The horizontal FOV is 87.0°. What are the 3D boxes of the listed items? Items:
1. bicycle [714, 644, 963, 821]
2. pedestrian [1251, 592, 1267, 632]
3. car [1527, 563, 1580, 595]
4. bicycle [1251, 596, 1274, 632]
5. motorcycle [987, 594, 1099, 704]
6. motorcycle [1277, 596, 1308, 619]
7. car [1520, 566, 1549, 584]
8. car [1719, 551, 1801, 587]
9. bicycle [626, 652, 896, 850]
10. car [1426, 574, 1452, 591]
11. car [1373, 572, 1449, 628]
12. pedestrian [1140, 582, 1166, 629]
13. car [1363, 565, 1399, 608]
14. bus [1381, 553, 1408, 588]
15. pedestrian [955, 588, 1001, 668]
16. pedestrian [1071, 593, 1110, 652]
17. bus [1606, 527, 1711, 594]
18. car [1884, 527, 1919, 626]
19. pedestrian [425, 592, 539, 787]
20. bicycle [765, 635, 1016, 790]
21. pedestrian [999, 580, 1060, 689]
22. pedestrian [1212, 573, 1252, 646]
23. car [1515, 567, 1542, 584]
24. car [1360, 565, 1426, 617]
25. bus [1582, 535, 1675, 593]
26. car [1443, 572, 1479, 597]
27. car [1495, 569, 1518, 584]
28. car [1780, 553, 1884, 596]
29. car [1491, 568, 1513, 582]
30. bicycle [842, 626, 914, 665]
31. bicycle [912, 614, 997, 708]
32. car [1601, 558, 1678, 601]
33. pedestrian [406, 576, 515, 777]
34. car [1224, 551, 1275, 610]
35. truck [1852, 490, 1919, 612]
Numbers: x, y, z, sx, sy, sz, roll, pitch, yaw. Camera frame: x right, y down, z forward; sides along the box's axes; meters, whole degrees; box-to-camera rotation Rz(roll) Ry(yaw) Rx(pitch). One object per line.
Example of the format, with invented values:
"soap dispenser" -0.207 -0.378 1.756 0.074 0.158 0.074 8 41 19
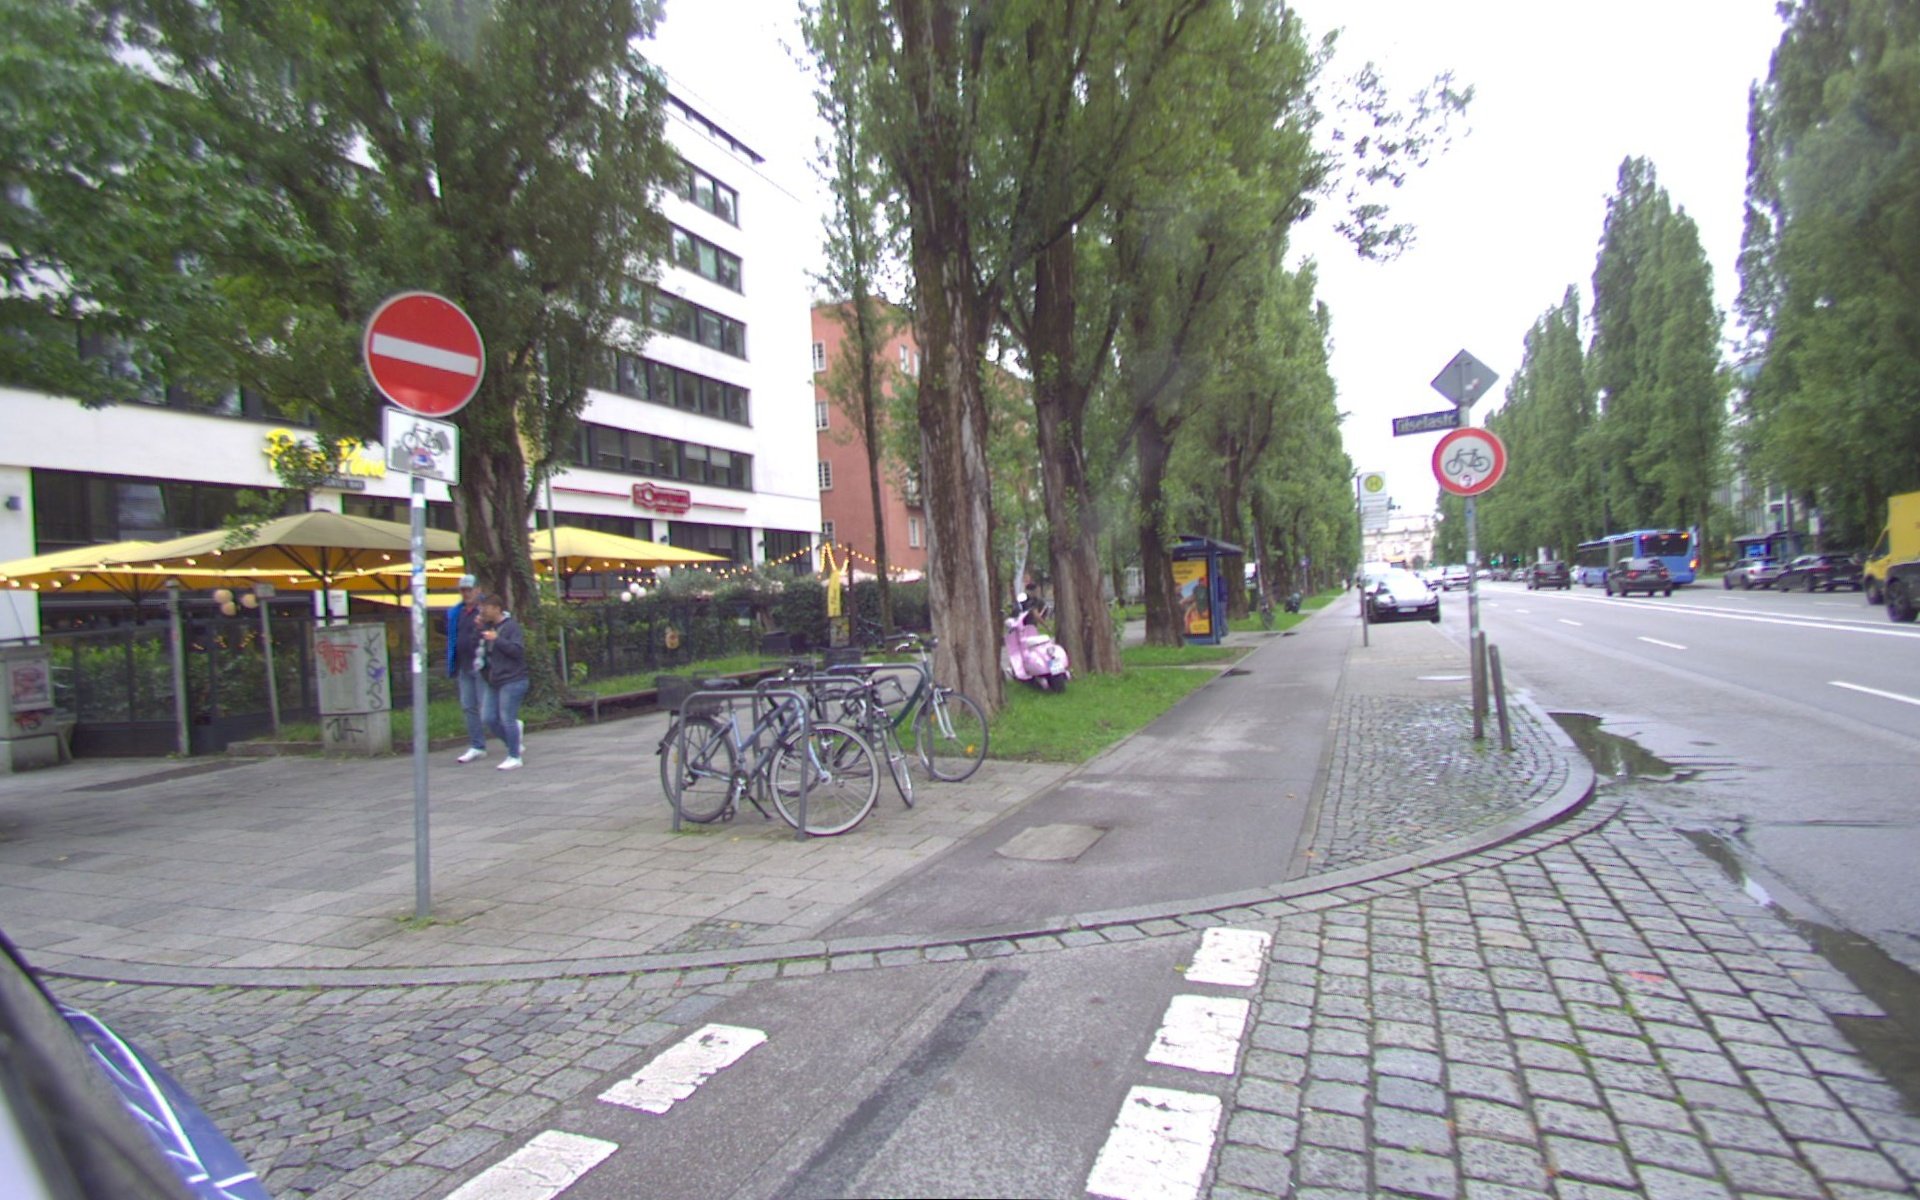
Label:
"bicycle" -0.872 0.903 7.072 1.695 1.101 0.487 -4 -1 28
"pedestrian" 12.995 0.514 44.001 0.514 1.705 0.482 -4 -1 26
"car" 34.898 -1.223 59.643 1.987 1.735 4.779 -3 0 23
"bicycle" 9.207 0.413 30.766 0.549 1.030 1.752 -4 0 19
"motorcycle" 1.044 0.591 13.294 0.619 1.204 1.998 -3 4 -21
"motorcycle" 14.376 0.314 43.754 0.460 0.945 1.666 -3 0 -10
"car" 59.894 -2.593 105.553 1.987 1.735 4.315 -3 0 23
"car" 35.929 -1.371 45.545 1.782 1.422 3.853 -4 0 22
"bicycle" -1.282 0.923 6.398 1.695 1.101 0.487 -4 -1 28
"car" 46.993 -1.721 99.363 1.999 1.592 3.969 -4 0 23
"car" 14.436 -0.035 32.545 1.999 1.592 3.969 -4 0 23
"pedestrian" 7.235 0.210 37.983 0.732 1.705 0.641 -4 -1 26
"car" 28.317 -0.922 68.160 1.999 2.651 5.956 -4 0 22
"bus" 55.817 -3.700 130.131 2.631 4.143 9.724 -4 -1 22
"pedestrian" 0.398 0.605 22.239 0.732 1.705 0.641 -4 -1 26
"pedestrian" 3.923 0.671 30.412 0.886 1.705 0.761 -4 -1 26
"bus" 37.020 -1.987 53.973 2.909 3.075 8.449 -4 -1 24
"car" 17.651 -0.449 16.486 1.985 1.762 5.030 -3 0 20
"pedestrian" -4.496 0.820 9.562 0.693 1.740 0.645 -3 -1 -1
"bicycle" -0.581 0.884 8.037 1.974 1.101 0.487 -4 -1 28
"pedestrian" 1.172 0.569 17.062 0.749 1.786 0.699 -2 0 27
"pedestrian" 7.181 0.250 26.723 0.882 1.857 0.764 -4 -1 15
"car" 63.018 -2.722 112.197 1.987 1.735 4.315 -3 0 23
"car" 16.594 -0.285 38.982 1.998 1.770 3.973 -4 -2 20
"bus" 40.315 -2.068 61.396 2.909 3.075 9.717 -4 -1 24
"car" 37.307 -1.162 75.474 2.000 1.592 3.970 -6 -1 23
"car" 68.282 -2.945 126.483 1.987 1.735 4.315 -3 0 23
"car" 33.124 -0.958 38.568 1.782 1.422 3.853 -4 0 22
"car" 70.567 -3.282 131.827 1.987 1.735 4.315 -3 0 23
"bicycle" -2.202 1.233 27.247 1.788 0.919 0.616 -4 -1 20
"bicycle" -0.054 0.836 14.321 0.579 1.197 1.604 -4 -1 22
"car" 27.164 -0.830 40.565 1.838 1.538 3.723 -3 0 24
"pedestrian" -5.028 0.744 10.216 0.693 1.922 0.645 -3 -1 -1
"car" 16.448 -1.073 57.364 2.184 3.039 5.960 -4 0 20
"truck" 24.213 -1.248 23.813 2.585 2.929 7.026 -4 0 23
